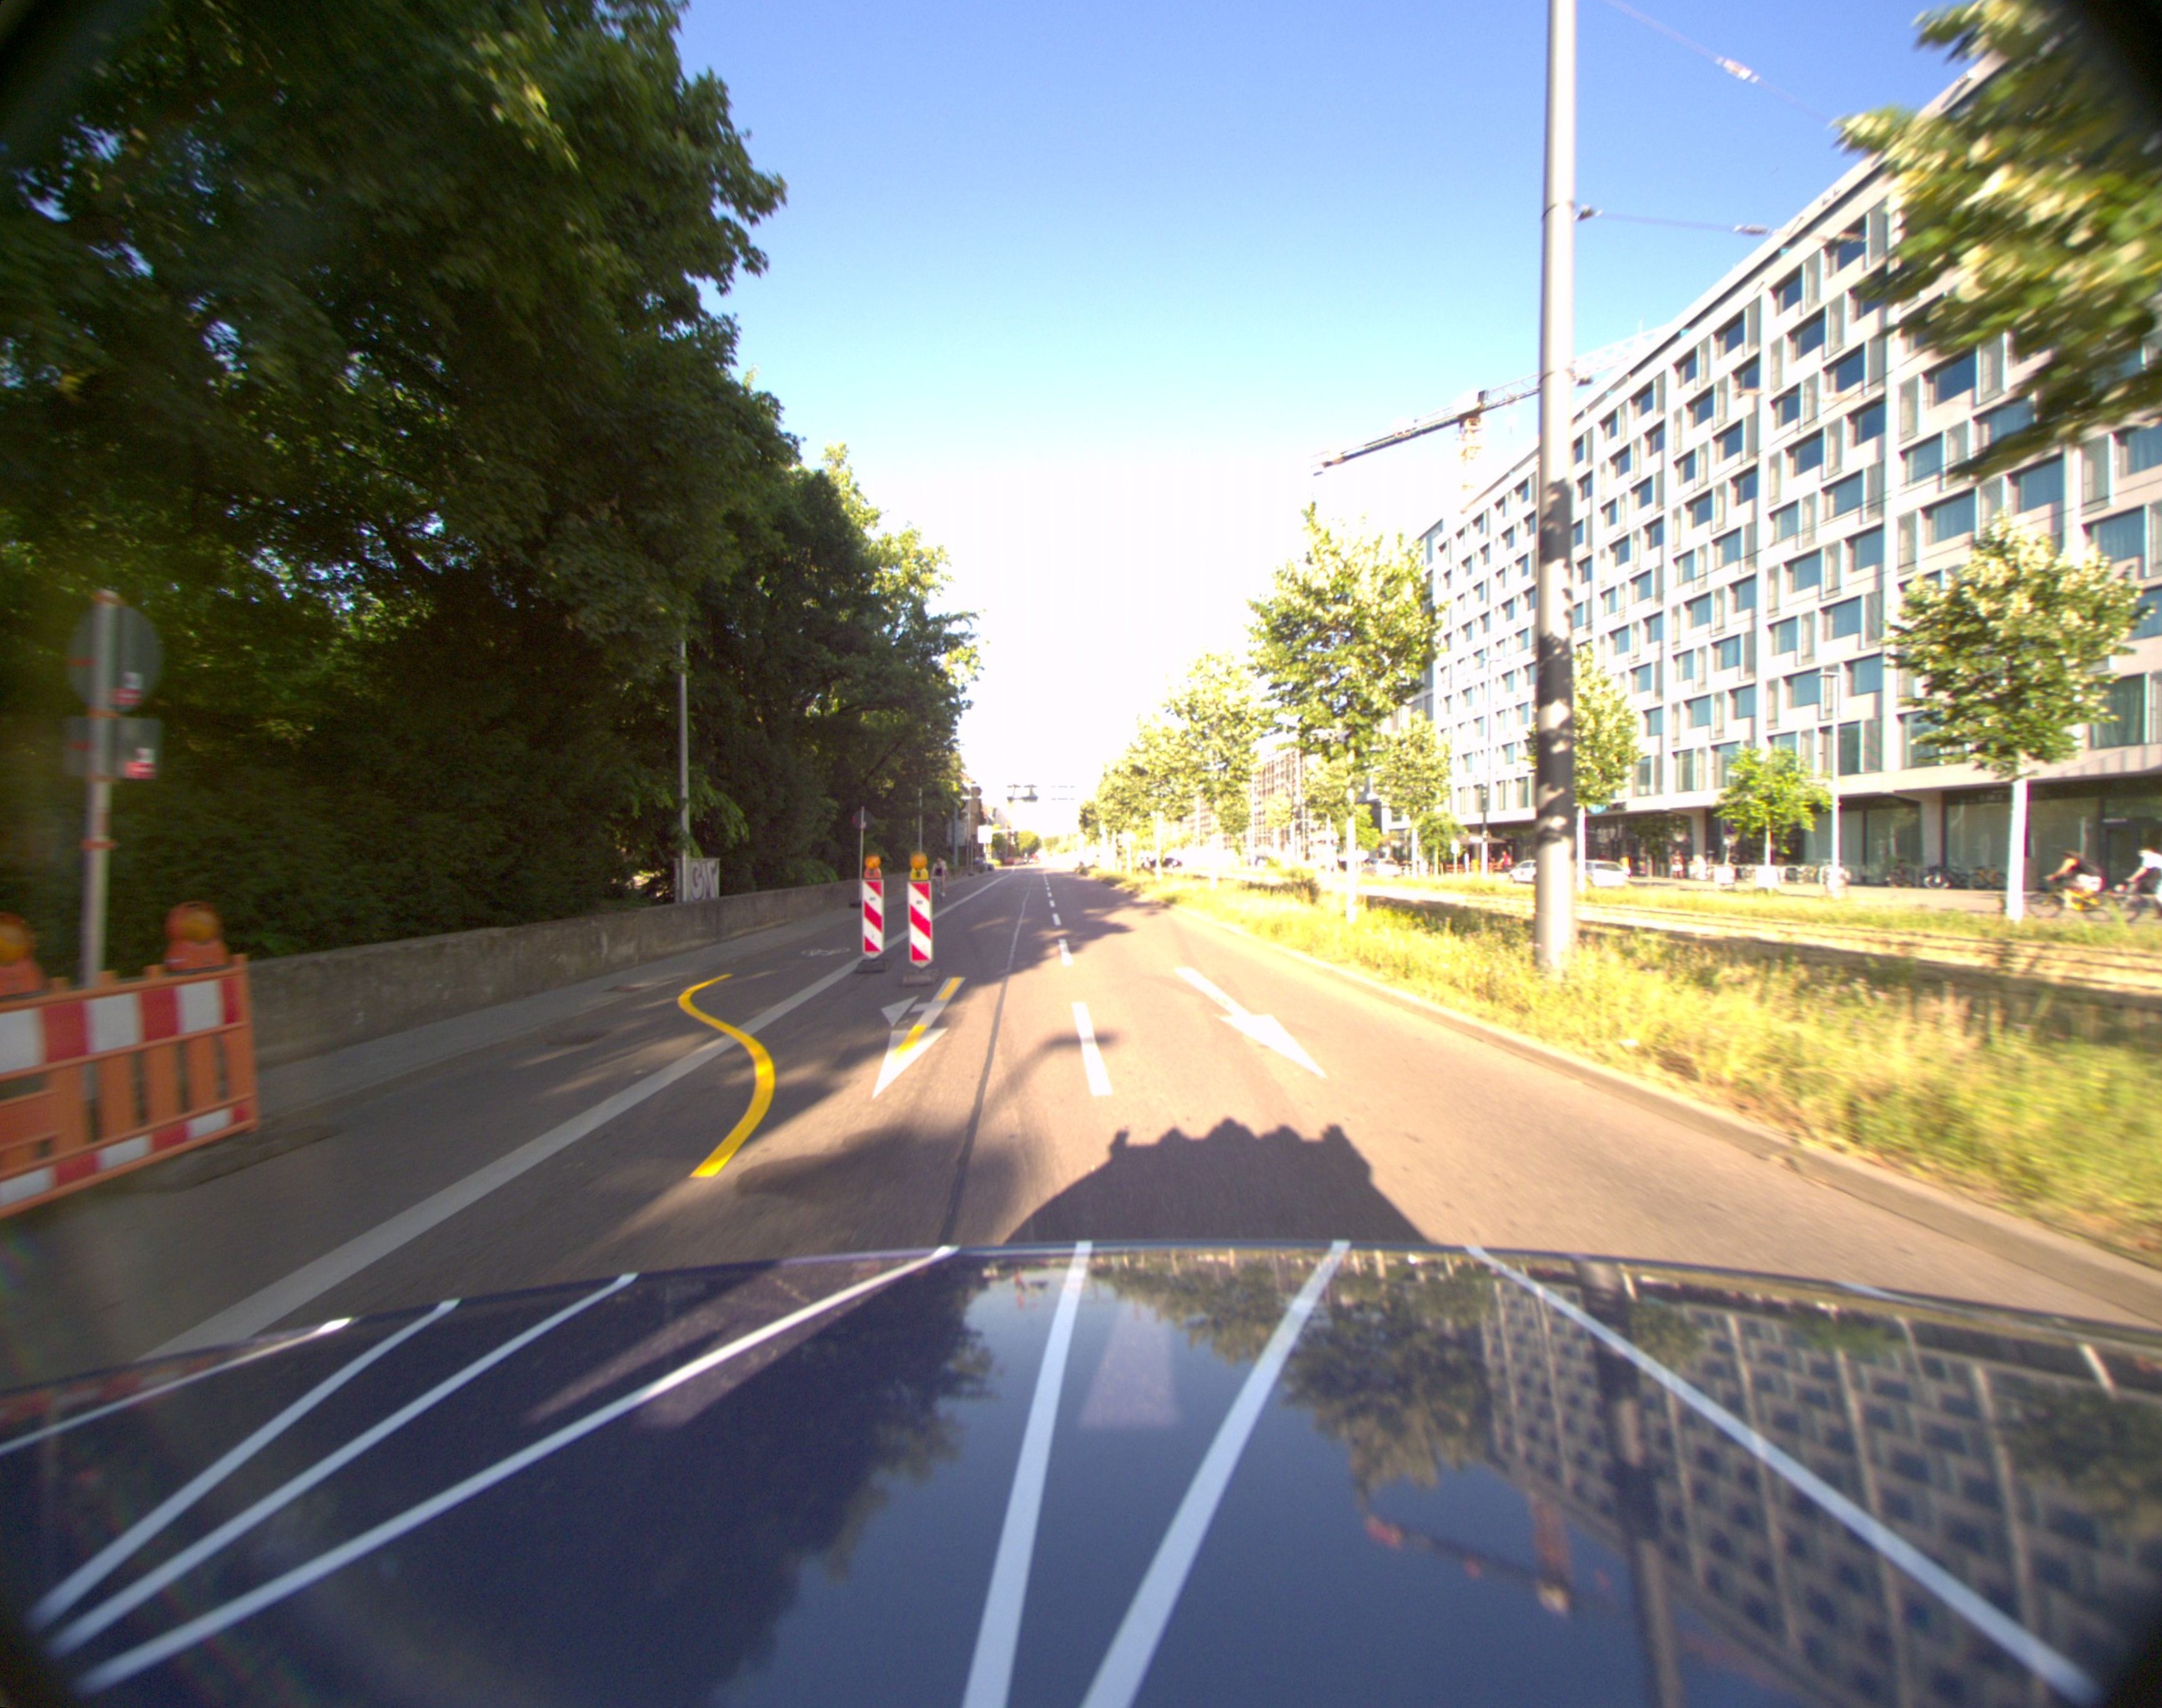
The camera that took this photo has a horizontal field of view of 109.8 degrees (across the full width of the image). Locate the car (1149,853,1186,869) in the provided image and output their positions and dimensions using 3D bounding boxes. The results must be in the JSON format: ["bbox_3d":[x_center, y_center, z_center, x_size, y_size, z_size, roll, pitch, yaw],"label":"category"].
[{"bbox_3d":[9.888,0.795,86.678,3.784,1.742,1.878,-2,1,24],"label":"car"}]

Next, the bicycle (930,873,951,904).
[{"bbox_3d":[-4.897,1.182,26.550,0.506,1.018,1.505,-1,1,-3],"label":"bicycle"}]

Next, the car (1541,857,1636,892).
[{"bbox_3d":[23.152,0.886,34.830,1.613,1.370,3.878,-2,1,-3],"label":"car"}]

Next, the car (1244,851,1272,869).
[{"bbox_3d":[18.218,0.591,78.366,1.875,1.742,3.791,-2,1,-3],"label":"car"}]

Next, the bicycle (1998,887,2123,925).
[{"bbox_3d":[25.505,1.334,19.849,0.437,0.857,2.102,0,0,-5],"label":"bicycle"}]

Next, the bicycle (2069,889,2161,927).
[{"bbox_3d":[26.710,1.370,19.267,0.437,0.857,2.102,0,0,-5],"label":"bicycle"}]

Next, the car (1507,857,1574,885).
[{"bbox_3d":[27.733,0.994,46.020,1.875,1.458,3.388,-2,1,-3],"label":"car"}]

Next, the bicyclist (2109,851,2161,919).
[{"bbox_3d":[26.703,0.760,19.059,0.539,1.647,0.919,0,1,-5],"label":"bicyclist"}]

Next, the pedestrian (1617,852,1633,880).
[{"bbox_3d":[31.778,0.693,44.374,0.479,1.626,0.597,0,1,-3],"label":"pedestrian"}]

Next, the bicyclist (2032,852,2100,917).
[{"bbox_3d":[25.557,0.769,19.722,0.539,1.647,0.919,0,1,-5],"label":"bicyclist"}]

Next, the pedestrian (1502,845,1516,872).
[{"bbox_3d":[32.201,0.327,57.128,0.622,2.002,0.725,0,1,-3],"label":"pedestrian"}]

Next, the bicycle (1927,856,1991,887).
[{"bbox_3d":[35.936,0.690,31.135,0.395,1.223,1.718,0,0,-12],"label":"bicycle"}]

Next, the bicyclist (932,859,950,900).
[{"bbox_3d":[-4.896,0.891,26.515,0.516,1.399,0.805,0,1,-4],"label":"bicyclist"}]

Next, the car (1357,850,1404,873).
[{"bbox_3d":[22.096,0.541,56.194,1.875,1.582,3.481,-2,1,-3],"label":"car"}]

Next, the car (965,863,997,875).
[{"bbox_3d":[-11.562,1.735,87.684,2.004,1.346,3.989,-1,1,-37],"label":"car"}]

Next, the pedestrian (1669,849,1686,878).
[{"bbox_3d":[34.589,0.553,44.072,0.479,1.626,0.597,0,1,-3],"label":"pedestrian"}]
